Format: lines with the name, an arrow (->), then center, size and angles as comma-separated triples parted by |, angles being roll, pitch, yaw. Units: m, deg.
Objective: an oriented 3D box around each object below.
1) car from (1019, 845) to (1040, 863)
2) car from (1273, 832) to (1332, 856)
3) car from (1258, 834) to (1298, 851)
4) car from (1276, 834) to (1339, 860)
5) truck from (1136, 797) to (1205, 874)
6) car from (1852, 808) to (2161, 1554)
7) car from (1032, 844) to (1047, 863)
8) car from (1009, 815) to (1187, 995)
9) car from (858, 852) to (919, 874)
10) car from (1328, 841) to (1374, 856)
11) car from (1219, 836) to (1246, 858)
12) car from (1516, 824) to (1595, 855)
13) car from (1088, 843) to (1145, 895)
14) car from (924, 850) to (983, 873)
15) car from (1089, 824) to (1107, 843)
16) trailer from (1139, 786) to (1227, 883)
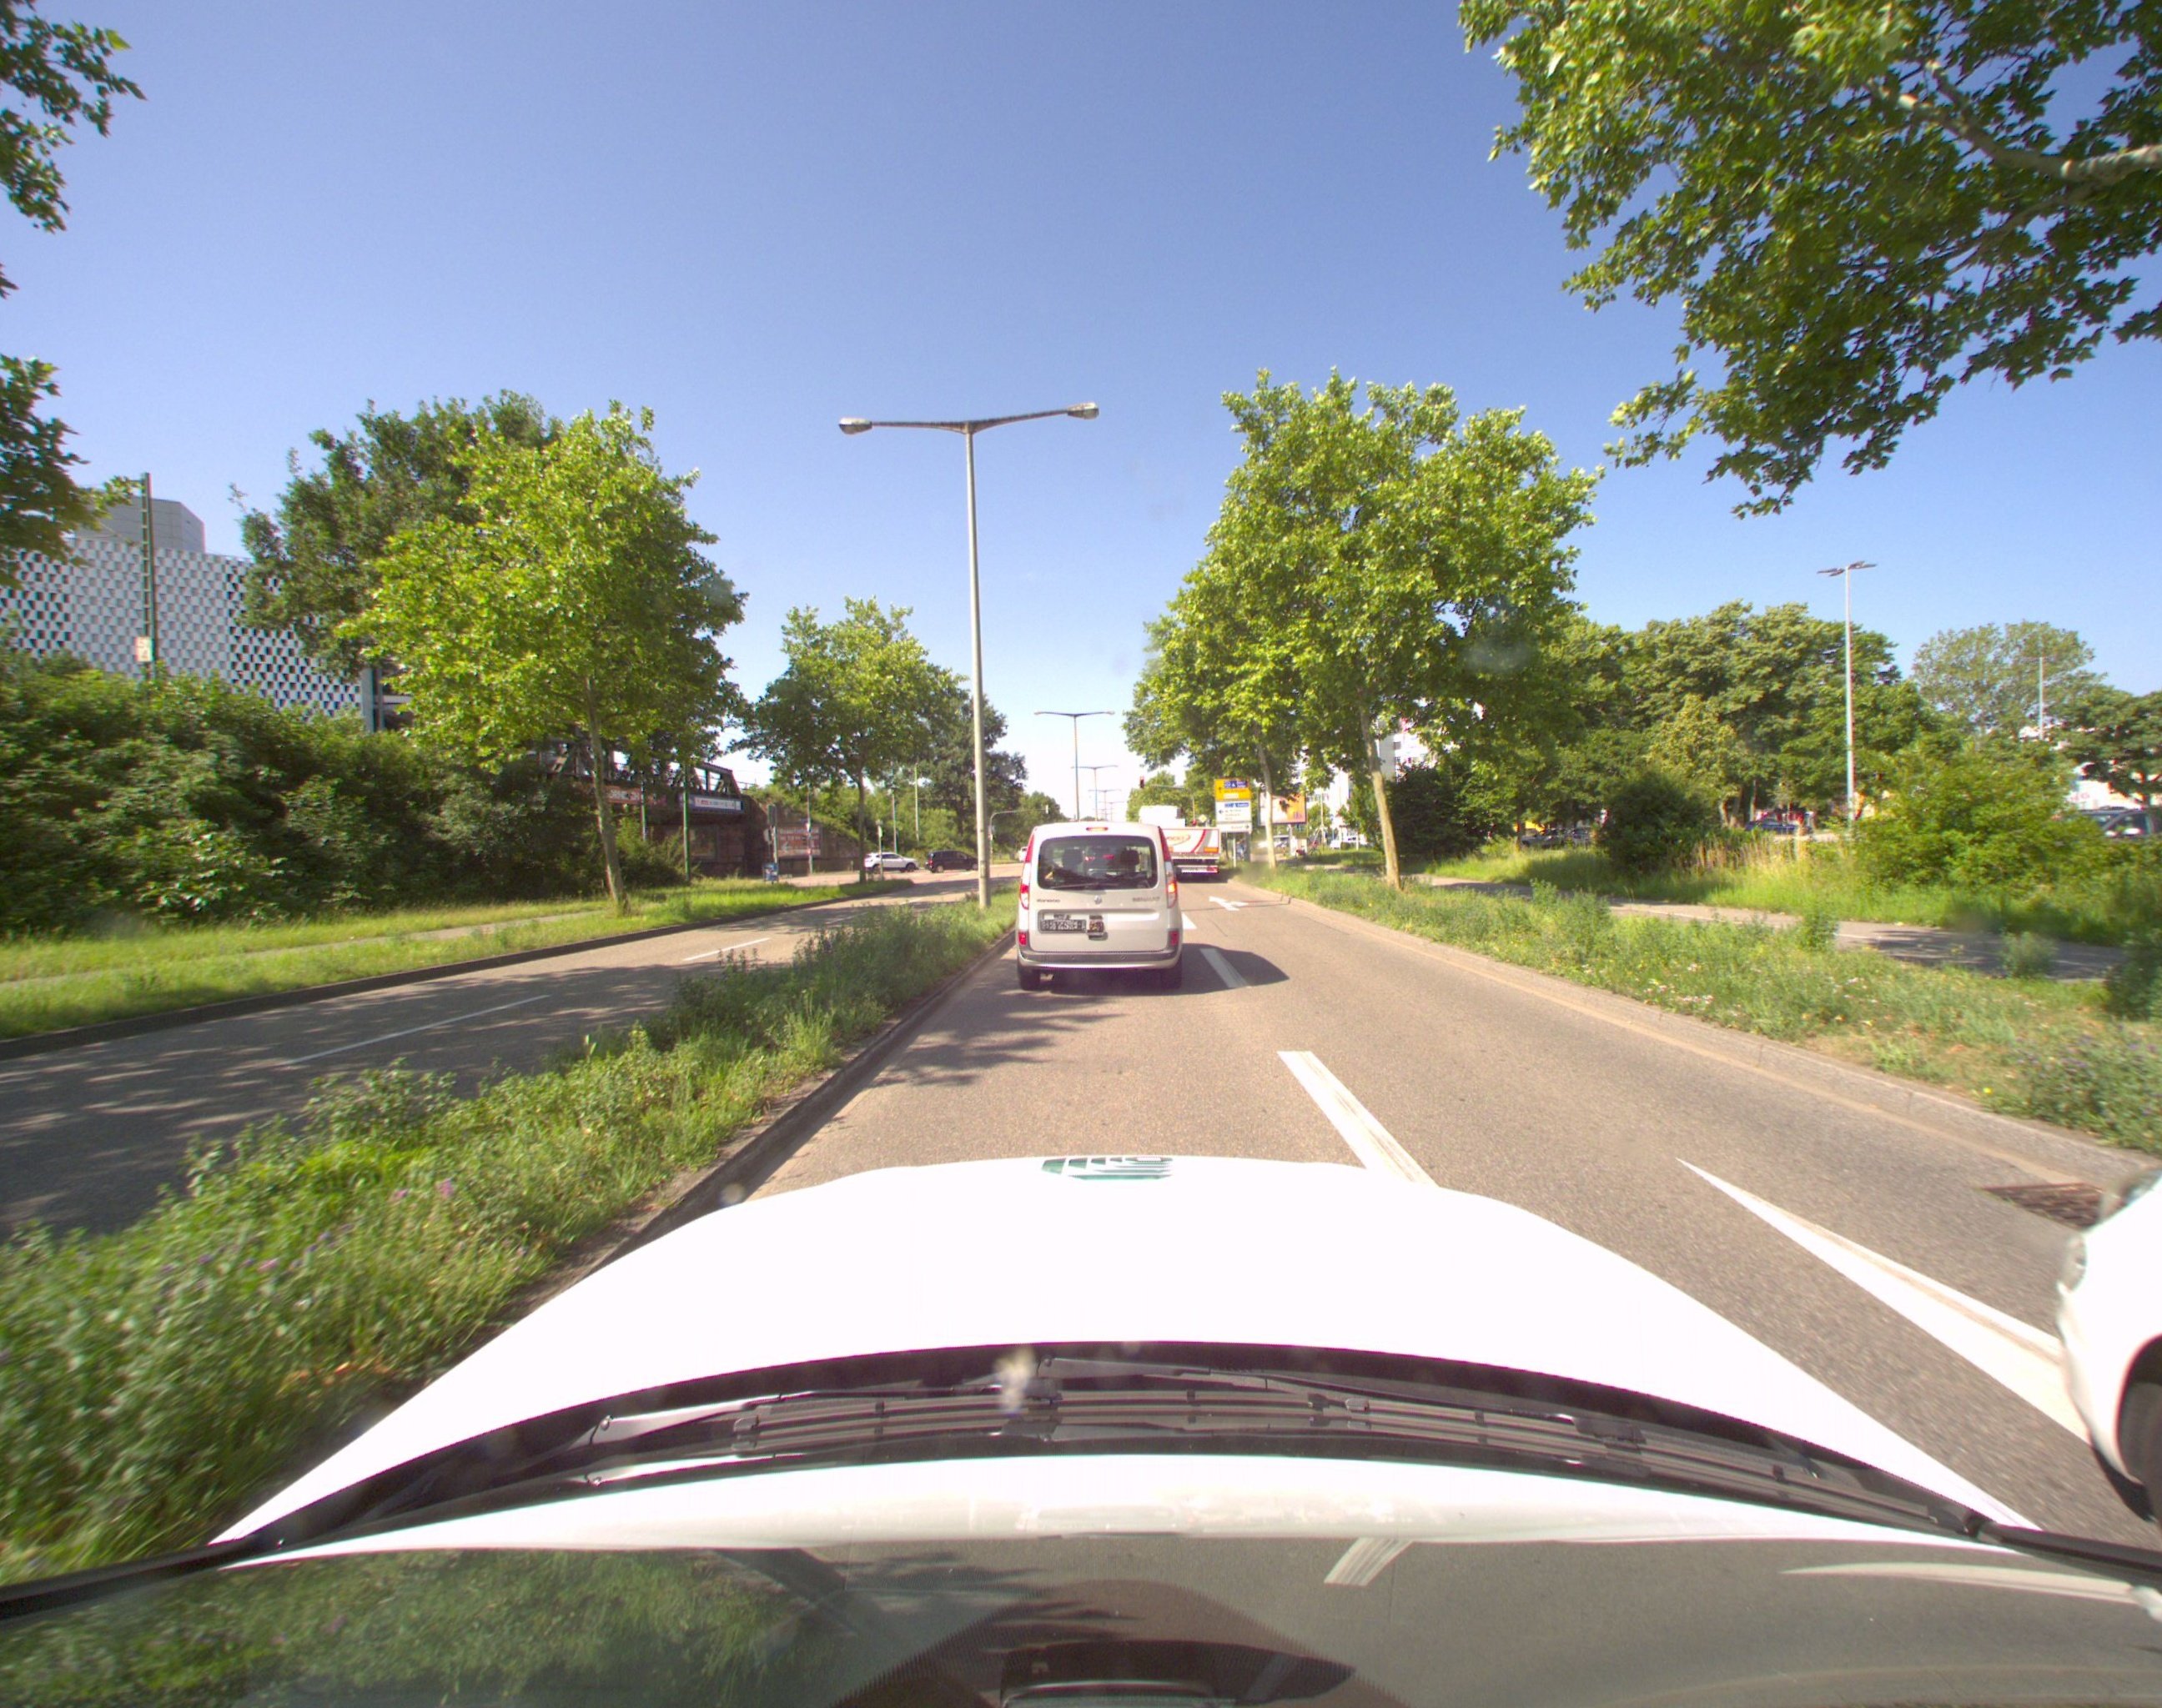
car -> -6.079, 0.007, 96.352 | 1.986, 1.891, 4.989 | -4, 0, 1
car -> 16.108, -0.704, 59.430 | 3.965, 1.662, 1.726 | -1, 0, 7
car -> 24.912, -1.438, 103.164 | 4.509, 2.013, 2.000 | -1, 0, 0
car -> 15.480, -0.475, 55.895 | 3.965, 1.662, 1.726 | -1, 0, 7
truck -> 4.674, -0.915, 44.095 | 3.060, 3.758, 7.478 | -1, 0, 1
car -> 2.832, 0.624, 0.426 | 1.654, 1.436, 3.523 | -1, 0, 3
car -> -5.783, -0.066, 112.903 | 2.055, 2.614, 5.861 | -1, 0, -4
car -> 0.230, 0.500, 10.052 | 1.742, 1.772, 3.951 | -1, 0, 2
car -> -14.667, 0.660, 62.192 | 4.132, 1.627, 1.979 | -1, 0, -35
car -> 26.453, -0.537, 79.680 | 4.468, 1.427, 1.714 | -1, 0, -30
car -> 12.385, -0.561, 66.748 | 1.808, 1.795, 3.446 | -1, 0, 3
car -> 27.888, -0.818, 47.919 | 1.778, 1.716, 3.703 | -1, 0, -45
car -> 1.198, 0.492, 29.093 | 1.804, 1.684, 3.999 | -1, 0, 0
car -> -9.367, 0.553, 59.726 | 4.002, 1.574, 1.925 | -1, 0, -21
car -> 1.923, -2.297, 93.079 | 1.710, 2.013, 3.995 | -1, 0, -3
trailer -> 4.406, -0.788, 37.771 | 3.004, 3.740, 12.247 | -1, 0, 2
